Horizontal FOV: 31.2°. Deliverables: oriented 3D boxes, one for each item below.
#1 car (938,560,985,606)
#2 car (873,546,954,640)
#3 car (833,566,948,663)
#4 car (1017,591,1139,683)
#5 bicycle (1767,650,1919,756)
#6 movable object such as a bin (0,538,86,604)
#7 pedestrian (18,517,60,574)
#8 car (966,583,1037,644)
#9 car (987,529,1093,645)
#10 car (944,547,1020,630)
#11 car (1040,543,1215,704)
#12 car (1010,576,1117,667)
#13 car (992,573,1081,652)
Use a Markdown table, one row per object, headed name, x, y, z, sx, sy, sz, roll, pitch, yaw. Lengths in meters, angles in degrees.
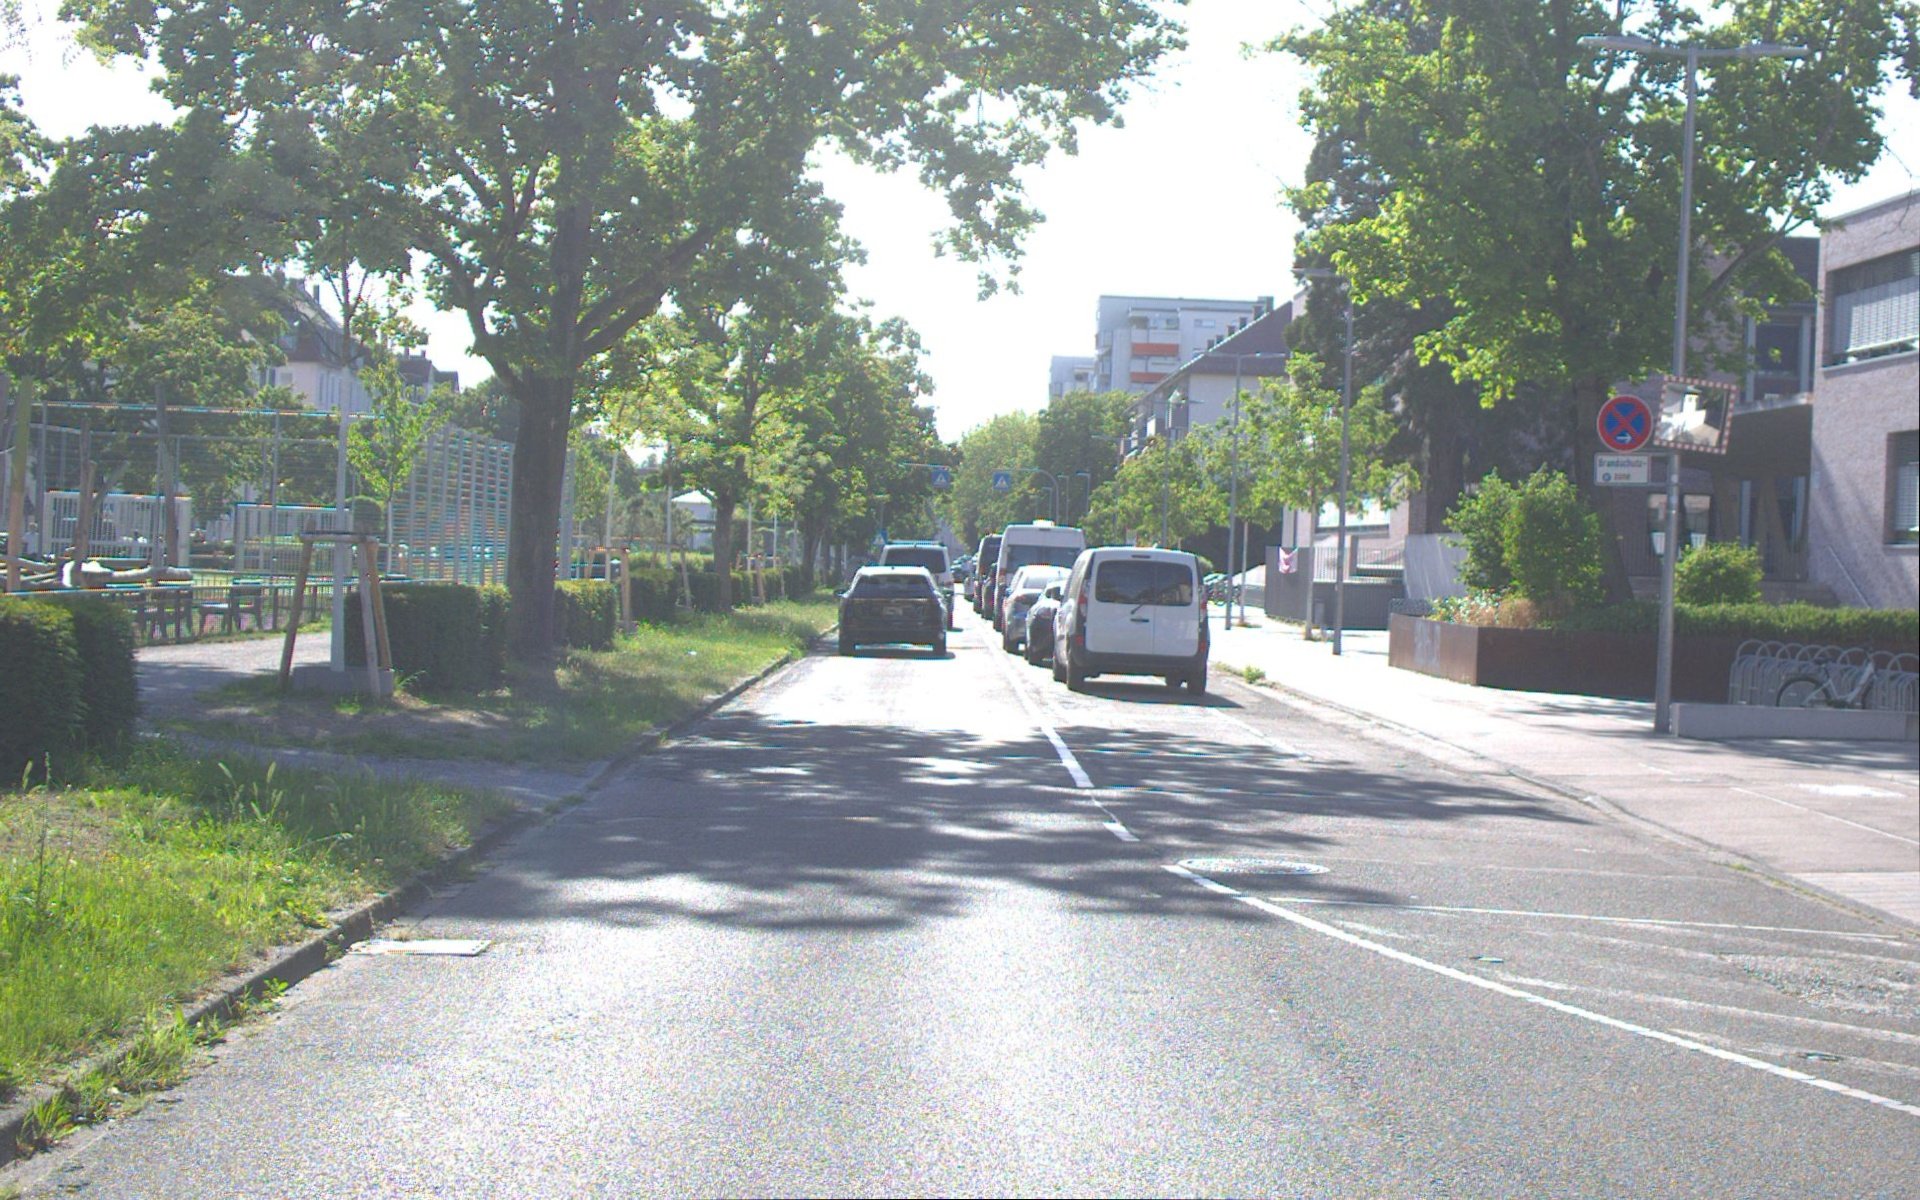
| name | x | y | z | sx | sy | sz | roll | pitch | yaw |
| --- | --- | --- | --- | --- | --- | --- | --- | --- | --- |
| car | 0.083 | -0.730 | 145.095 | 1.794 | 1.849 | 4.413 | 3 | 0 | 2 |
| car | -1.086 | -0.182 | 82.364 | 1.794 | 2.115 | 4.000 | 2 | 0 | 0 |
| car | -1.133 | 0.229 | 57.982 | 1.794 | 1.505 | 4.000 | 2 | 0 | 0 |
| car | 1.852 | 0.561 | 55.173 | 1.701 | 1.321 | 4.129 | 3 | 0 | -1 |
| bicycle | 9.672 | 1.114 | 37.264 | 1.668 | 1.026 | 0.500 | 4 | 0 | -2 |
| movable object such as a bin | -18.371 | -0.580 | 67.158 | 2.330 | 1.238 | 1.056 | 2 | 1 | -4 |
| pedestrian | -21.878 | -1.303 | 81.678 | 0.649 | 1.314 | 0.649 | 3 | 0 | 29 |
| car | 1.163 | 0.372 | 99.036 | 1.846 | 1.634 | 4.504 | 2 | 0 | -1 |
| car | 1.863 | -0.309 | 81.604 | 2.241 | 2.566 | 5.432 | 3 | 0 | 0 |
| car | 0.669 | -0.371 | 111.191 | 2.115 | 2.507 | 6.532 | 2 | 0 | -2 |
| car | 2.127 | 0.268 | 44.791 | 1.808 | 1.902 | 4.462 | 3 | 0 | -2 |
| car | 1.807 | 0.355 | 61.221 | 1.701 | 1.473 | 4.173 | 3 | 0 | 0 |
| car | 1.629 | 0.253 | 74.155 | 1.619 | 1.583 | 3.592 | 3 | 1 | -3 |
